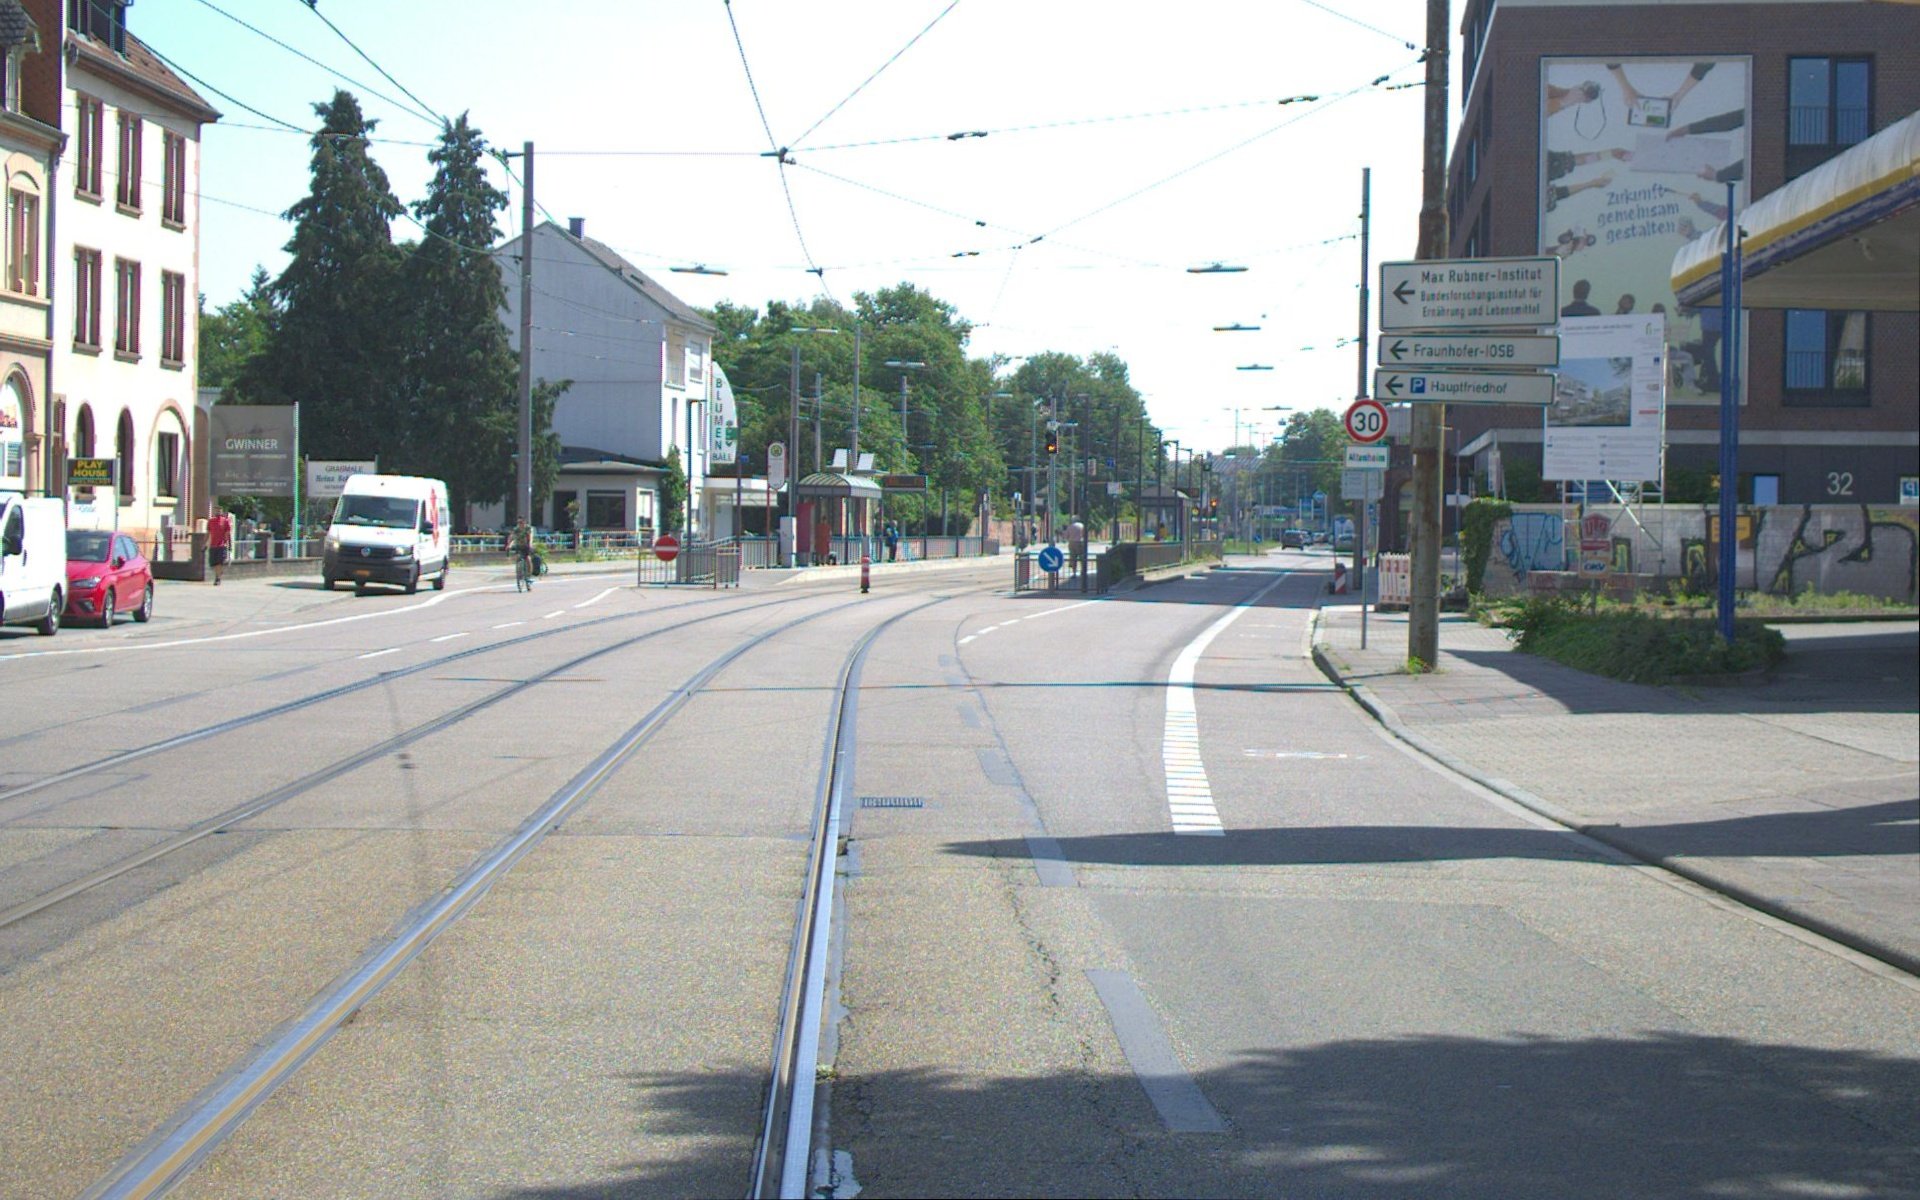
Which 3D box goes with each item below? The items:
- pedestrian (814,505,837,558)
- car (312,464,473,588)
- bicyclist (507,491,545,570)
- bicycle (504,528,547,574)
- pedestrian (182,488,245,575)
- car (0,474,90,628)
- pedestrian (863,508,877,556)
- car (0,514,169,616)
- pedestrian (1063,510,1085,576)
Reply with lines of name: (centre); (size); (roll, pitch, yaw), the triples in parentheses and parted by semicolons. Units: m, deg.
pedestrian: (-4.292, -2.179, 109.966); (0.705, 1.684, 0.416); (1, 1, -1)
car: (-12.580, -1.667, 76.641); (2.329, 2.527, 6.507); (3, 1, 0)
bicyclist: (-9.605, -1.540, 76.089); (0.716, 1.718, 0.988); (1, 1, -1)
bicycle: (-9.611, -1.082, 76.073); (0.608, 0.980, 2.164); (1, 1, 1)
pedestrian: (-15.803, -1.461, 72.800); (0.942, 1.809, 1.130); (1, 1, 9)
car: (-13.500, -0.707, 46.599); (2.084, 2.007, 4.908); (2, 1, 1)
pedestrian: (-3.156, -2.389, 120.819); (0.415, 1.684, 0.708); (1, 1, -7)
car: (-13.460, -0.564, 52.769); (1.720, 1.401, 4.002); (1, 2, 0)
pedestrian: (3.048, -1.527, 91.715); (0.556, 1.754, 0.793); (0, 1, 1)
